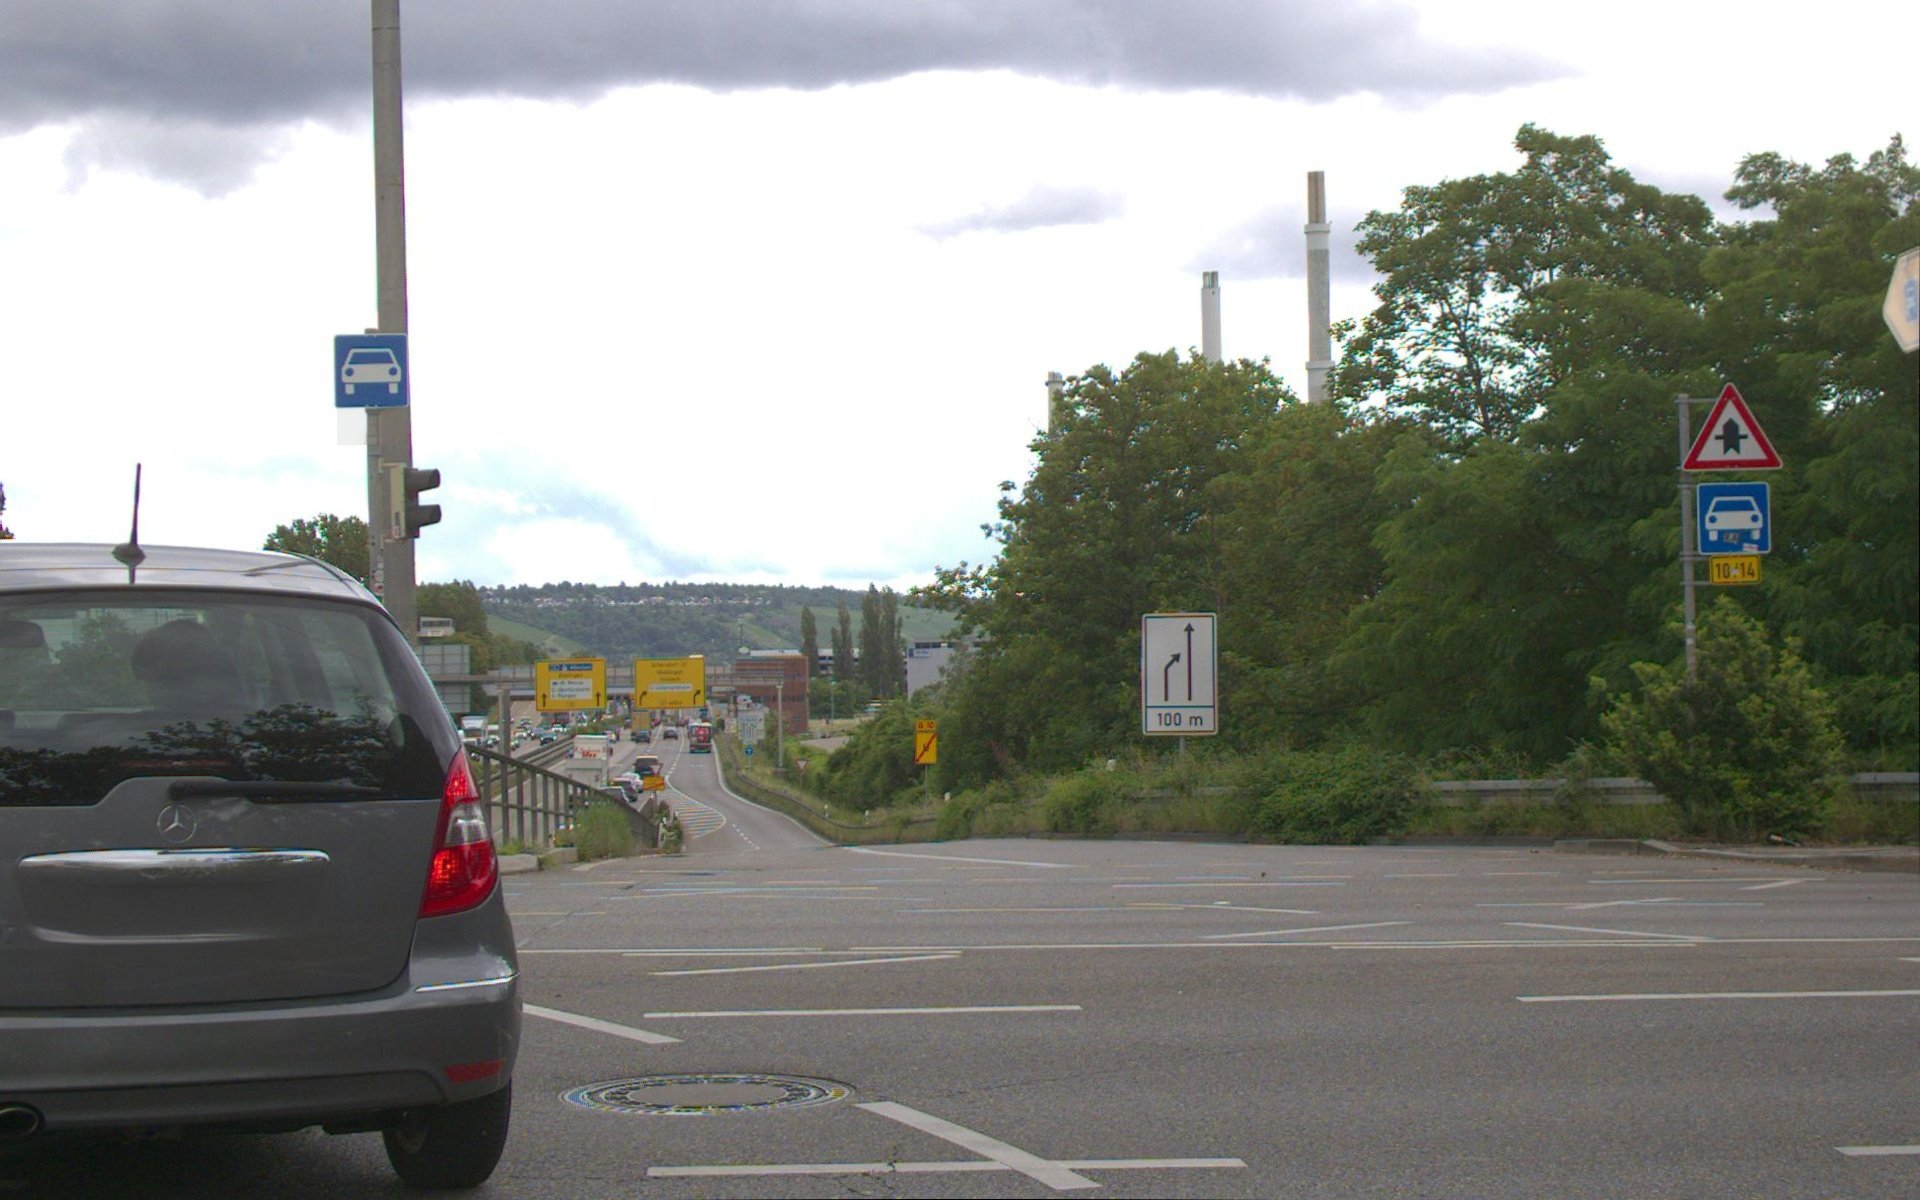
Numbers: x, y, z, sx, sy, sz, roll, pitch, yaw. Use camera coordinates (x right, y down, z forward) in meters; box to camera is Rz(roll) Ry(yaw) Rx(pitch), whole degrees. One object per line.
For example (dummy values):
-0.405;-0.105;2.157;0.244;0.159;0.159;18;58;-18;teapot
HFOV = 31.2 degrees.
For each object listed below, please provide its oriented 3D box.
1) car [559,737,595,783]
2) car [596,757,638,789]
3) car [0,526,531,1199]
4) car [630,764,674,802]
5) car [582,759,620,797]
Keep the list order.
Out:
-22.924;9.618;206.038;1.993;2.614;5.399;-2;-3;-6;car
-21.662;10.926;216.948;2.530;1.895;4.882;-2;-3;-6;car
-2.512;0.636;9.045;1.745;1.545;3.872;0;-1;-23;car
-14.708;8.743;164.131;1.993;1.731;3.997;-2;-3;-6;car
-19.871;9.864;190.306;1.993;2.007;4.000;-2;-3;-6;car
